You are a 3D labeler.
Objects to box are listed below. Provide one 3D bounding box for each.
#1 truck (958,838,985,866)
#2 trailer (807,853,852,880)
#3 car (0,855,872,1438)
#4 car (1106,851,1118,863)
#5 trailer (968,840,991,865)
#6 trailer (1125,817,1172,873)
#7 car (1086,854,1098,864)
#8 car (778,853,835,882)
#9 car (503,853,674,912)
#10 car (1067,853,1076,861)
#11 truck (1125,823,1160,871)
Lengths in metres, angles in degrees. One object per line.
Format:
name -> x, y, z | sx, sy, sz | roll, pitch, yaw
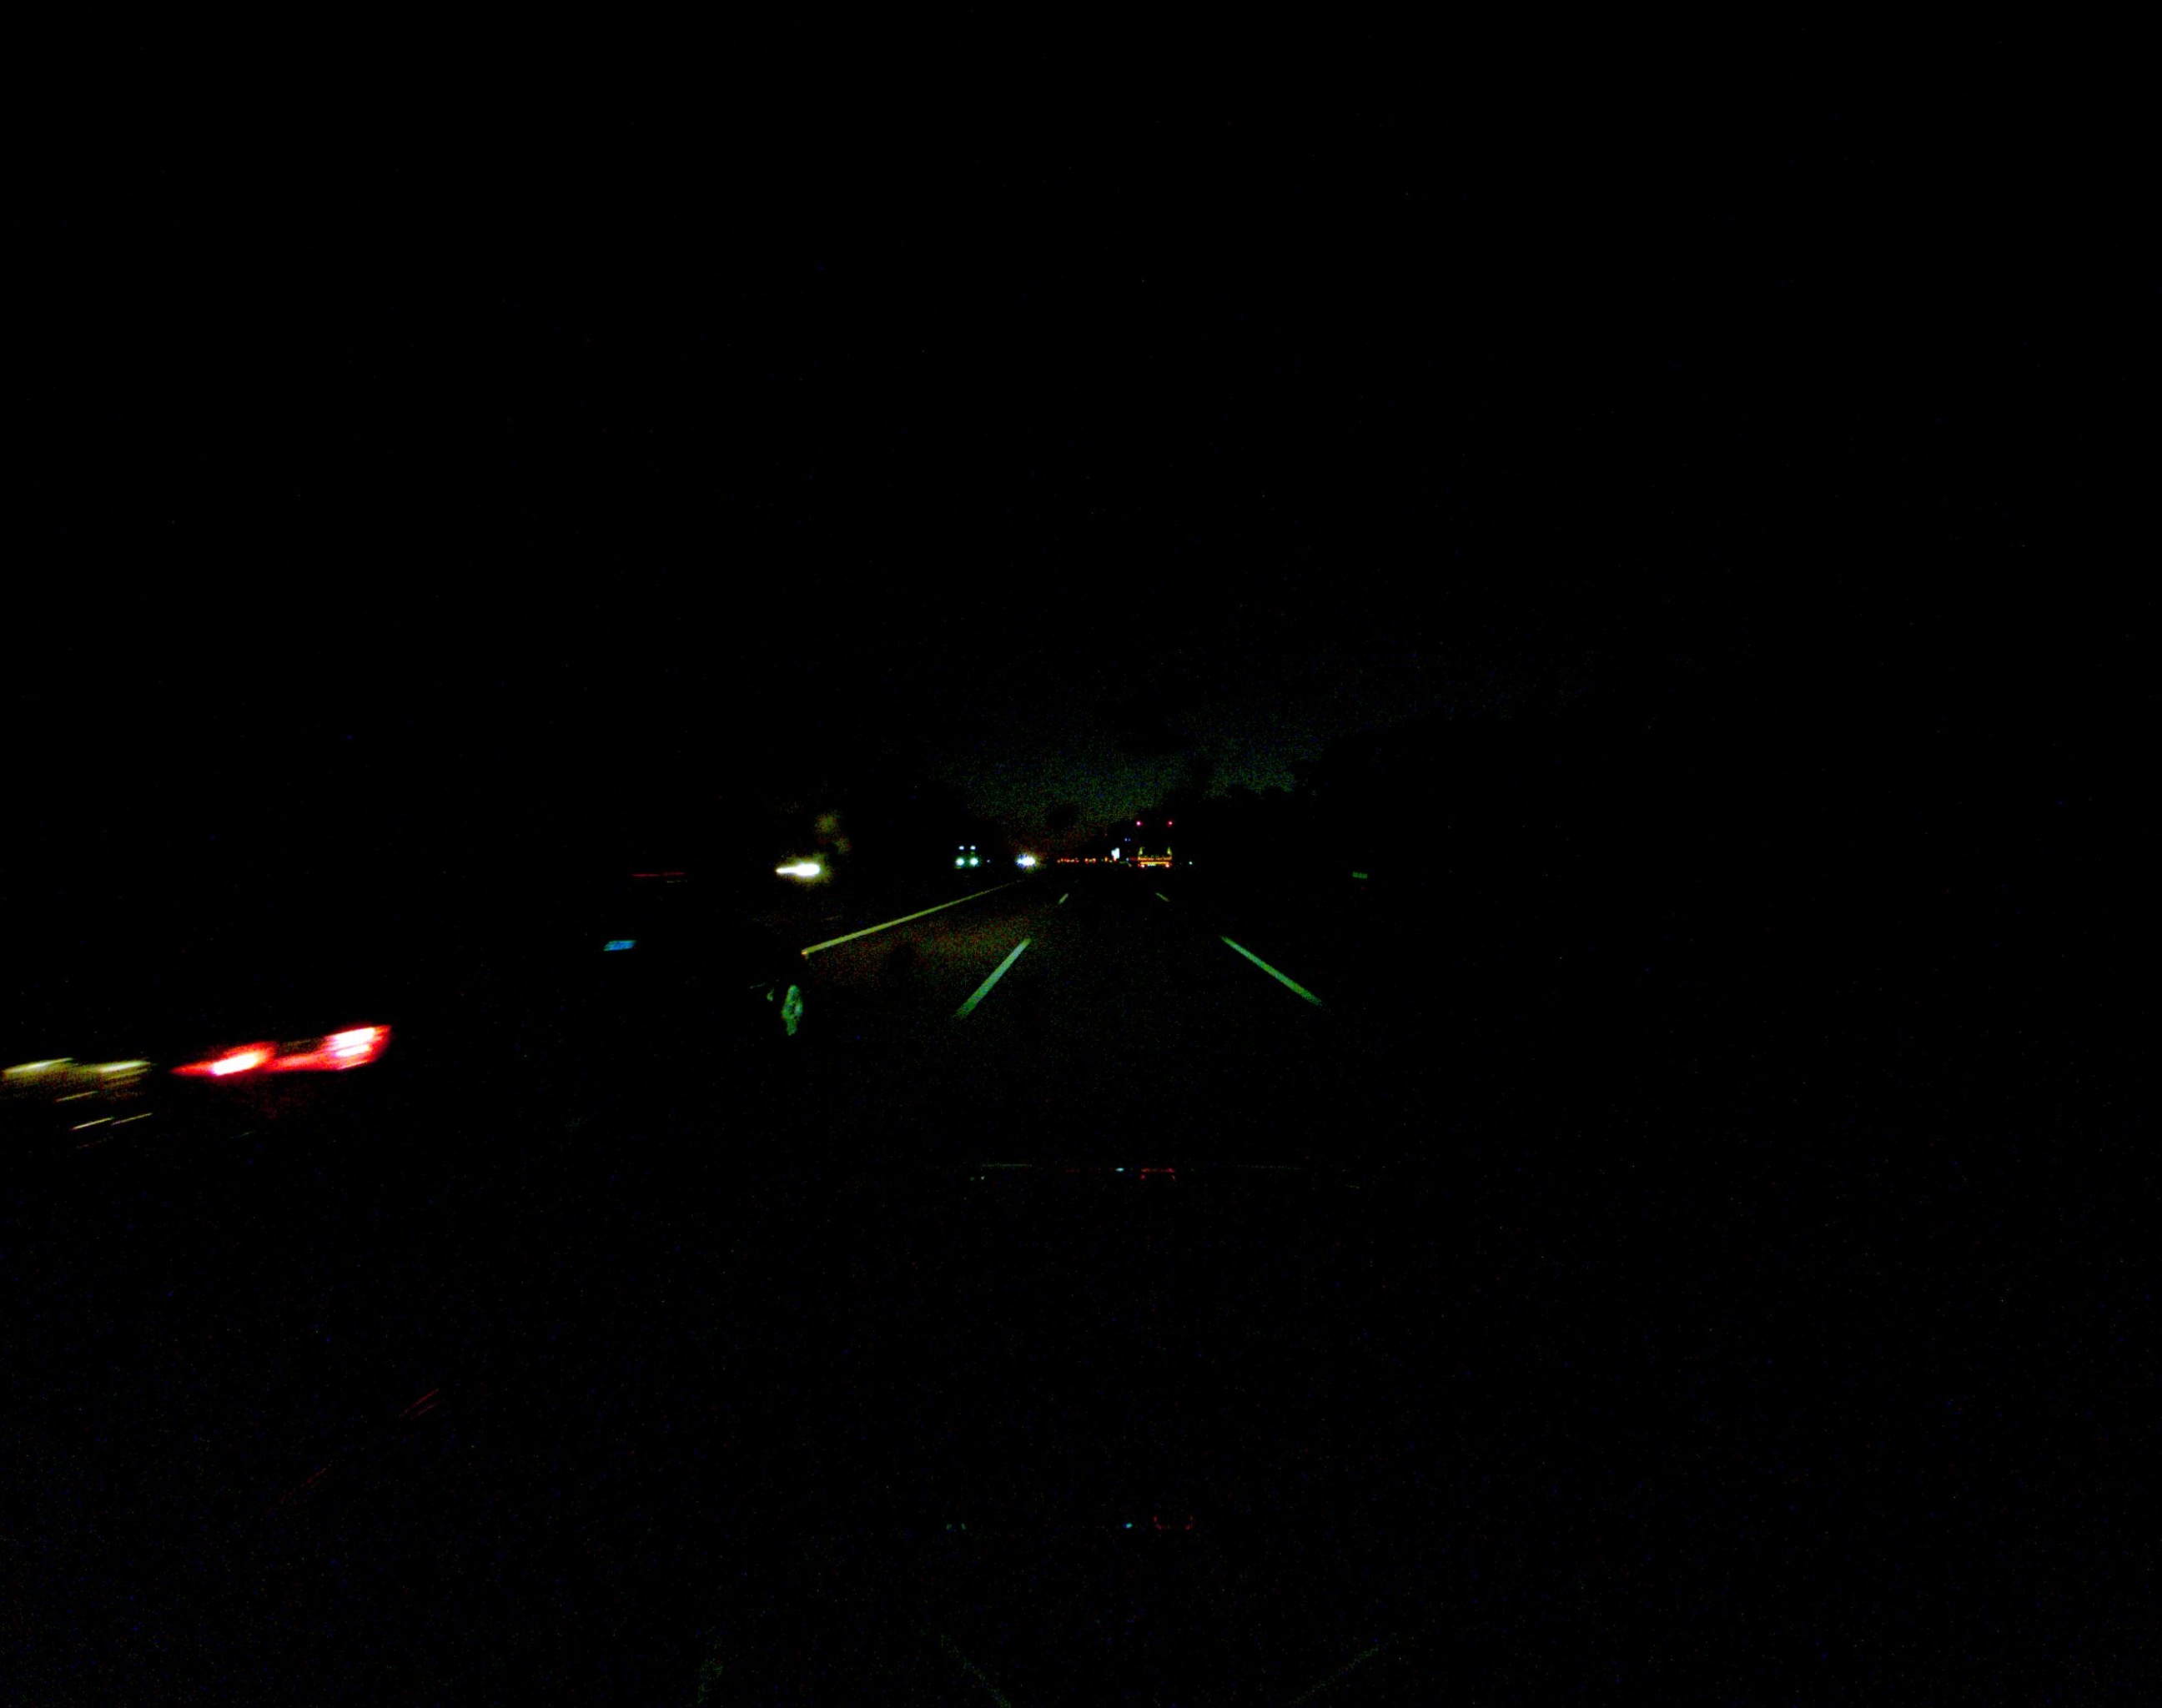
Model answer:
truck -> -17.199, -0.282, 128.414 | 2.851, 4.071, 10.634 | -1, 0, 0
trailer -> -17.553, 0.848, 57.058 | 1.889, 1.746, 3.846 | -1, 0, 1
car -> -3.191, 0.829, 5.140 | 1.985, 1.518, 5.656 | 0, 1, 3
car -> 5.701, 0.527, 150.380 | 1.987, 2.117, 3.999 | -1, -1, 0
trailer -> -17.145, -0.252, 138.180 | 2.851, 4.071, 8.870 | -1, 0, 0
trailer -> 5.584, -0.650, 70.397 | 2.820, 4.256, 17.049 | -1, 0, 1
car -> 2.021, 0.870, 143.616 | 1.986, 1.794, 4.001 | -1, -1, 2
car -> -17.660, 0.837, 52.684 | 1.907, 1.746, 4.882 | -1, 0, 1
car -> -14.804, 0.773, 24.901 | 2.237, 1.597, 4.887 | -1, 0, 0
car -> -2.174, 0.761, 189.083 | 1.987, 1.794, 3.999 | -1, -1, 0
truck -> 5.640, -0.629, 75.807 | 2.820, 4.256, 6.263 | -1, 0, 1
